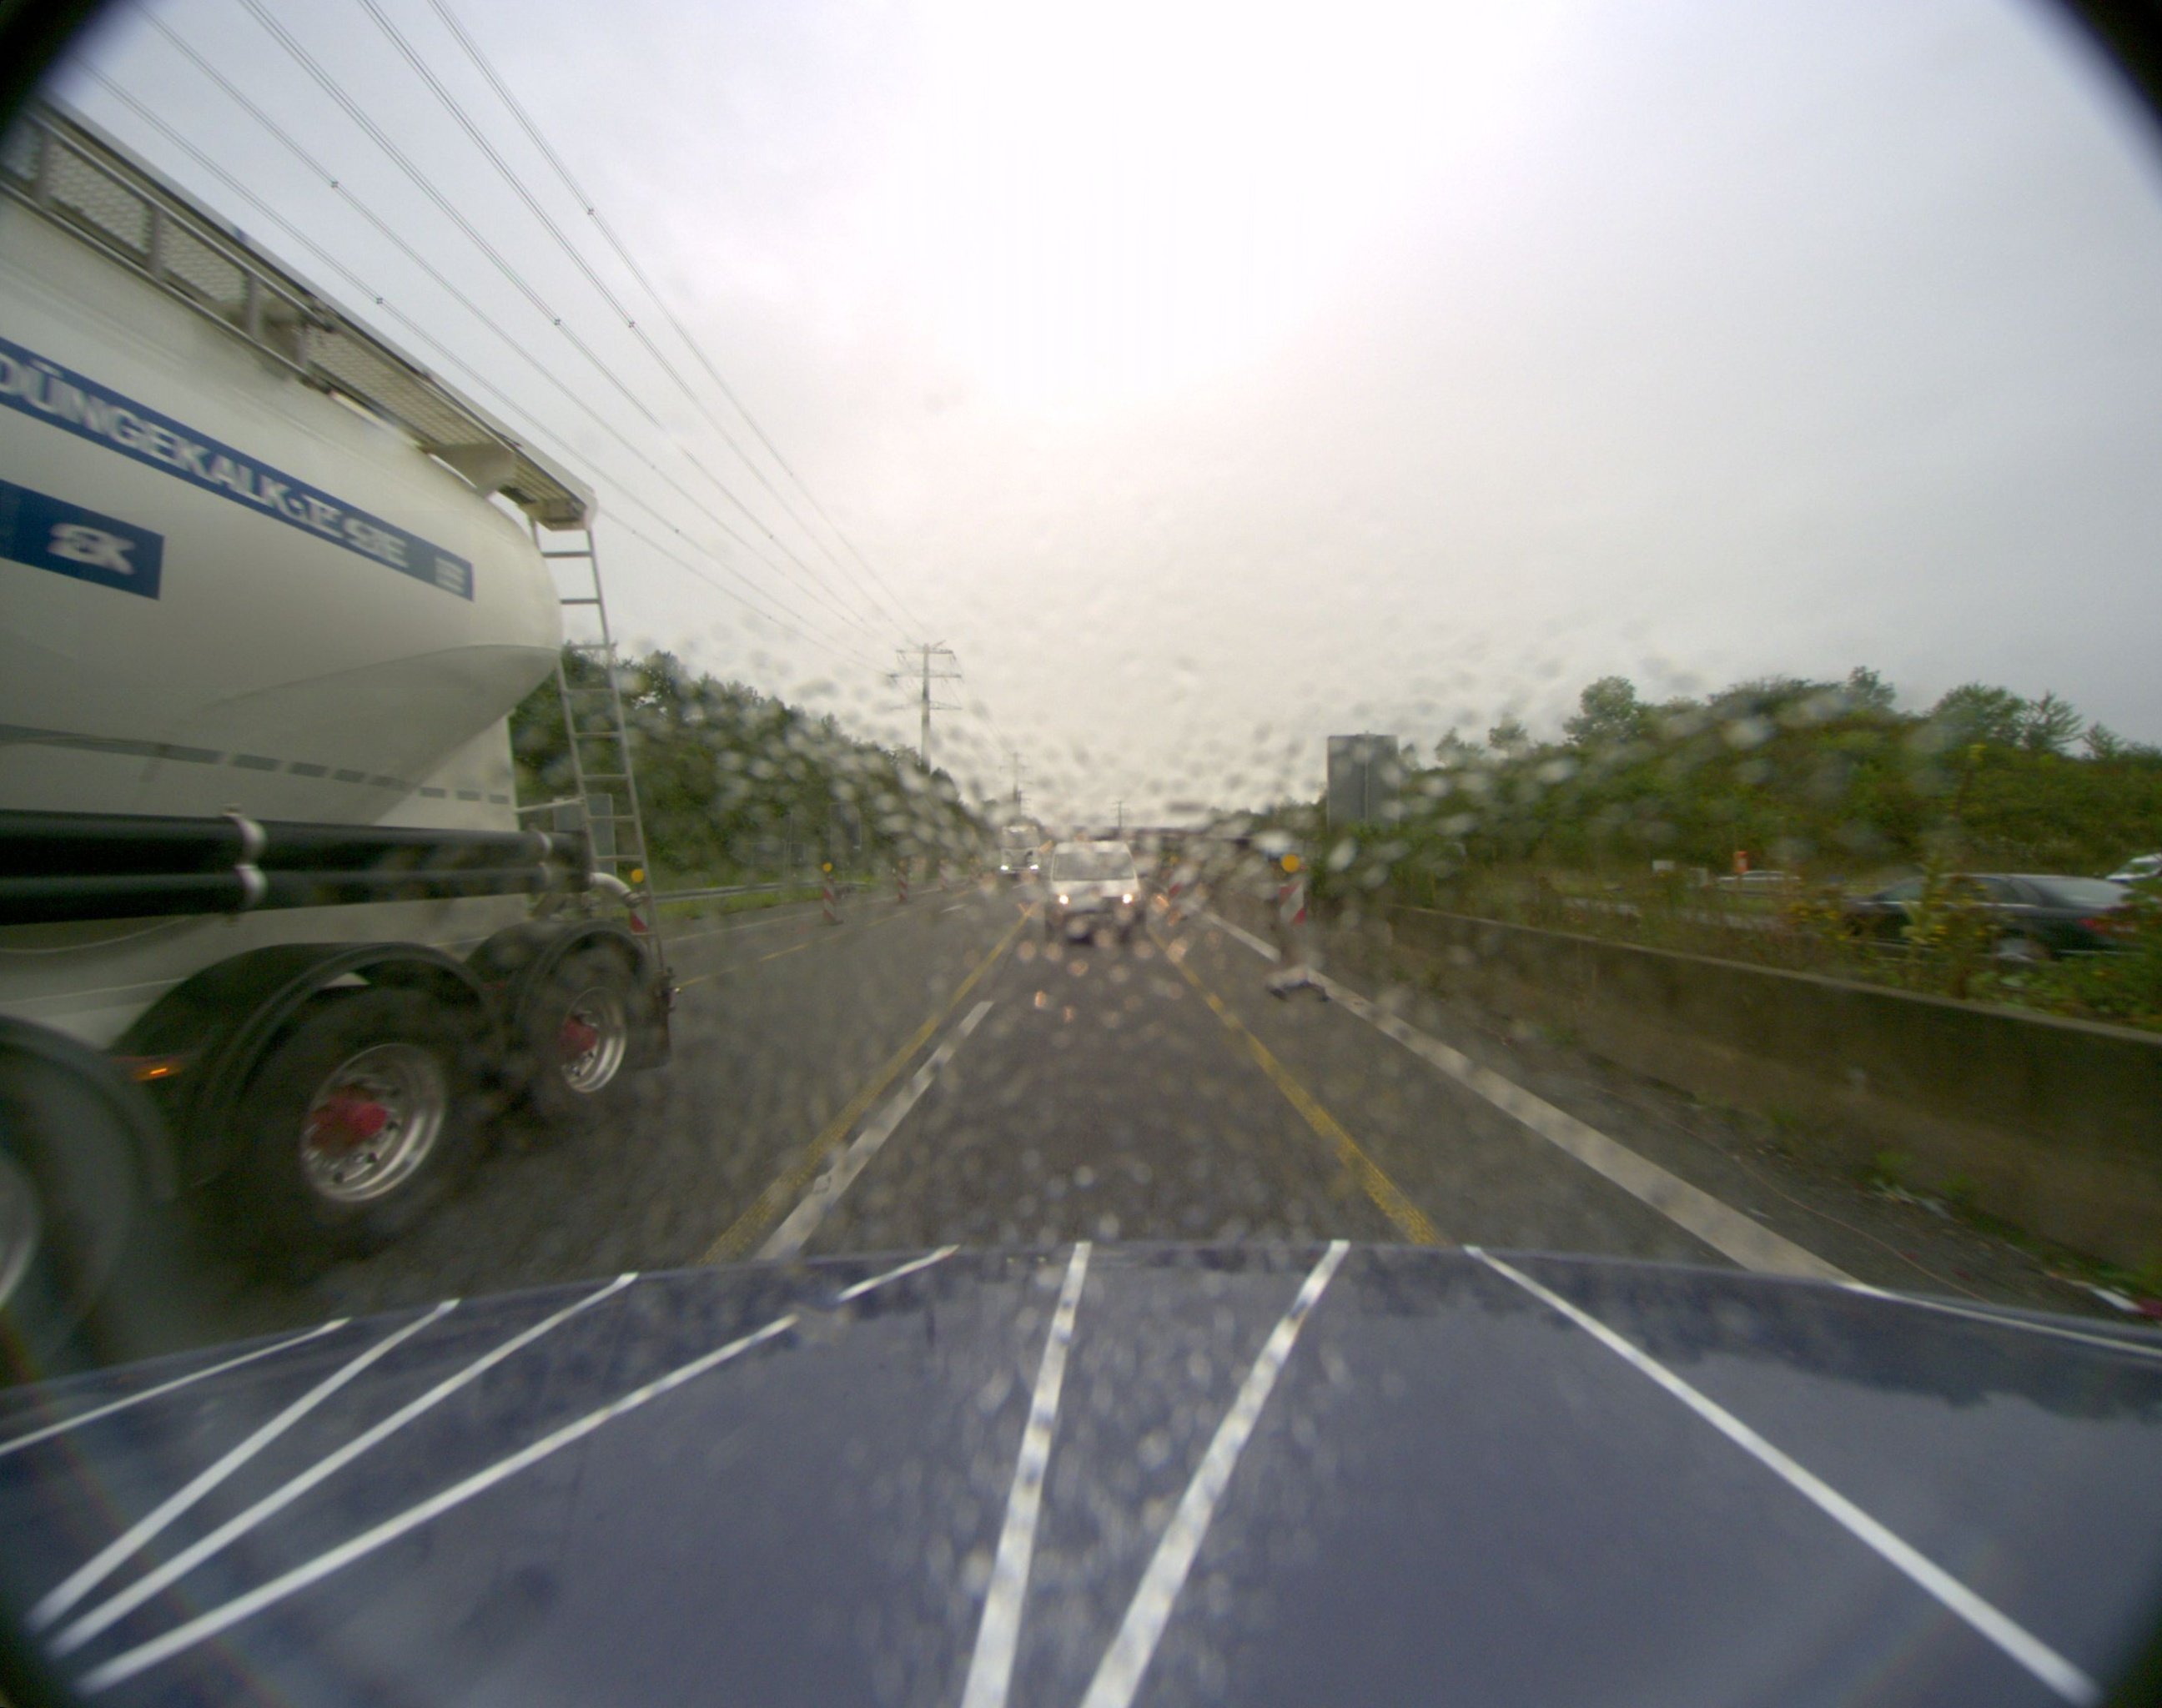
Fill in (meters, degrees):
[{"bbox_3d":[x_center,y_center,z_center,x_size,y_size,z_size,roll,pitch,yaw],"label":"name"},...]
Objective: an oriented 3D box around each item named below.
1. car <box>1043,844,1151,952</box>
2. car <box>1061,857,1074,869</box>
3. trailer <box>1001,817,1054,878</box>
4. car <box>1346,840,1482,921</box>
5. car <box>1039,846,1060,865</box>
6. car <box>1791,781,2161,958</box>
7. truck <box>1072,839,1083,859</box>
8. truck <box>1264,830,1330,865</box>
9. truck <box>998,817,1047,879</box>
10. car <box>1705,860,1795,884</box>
[{"bbox_3d":[0.237,0.728,15.047,1.770,1.774,4.647,-1,0,-1],"label":"car"},{"bbox_3d":[-2.338,1.552,134.315,1.998,2.002,3.999,-2,1,1],"label":"car"},{"bbox_3d":[-3.851,-0.544,58.153,2.808,3.980,14.146,-2,1,0],"label":"trailer"},{"bbox_3d":[9.513,0.661,22.224,1.772,2.002,5.254,-3,1,2],"label":"car"},{"bbox_3d":[-3.501,0.113,84.549,1.998,2.002,3.999,-2,1,1],"label":"car"},{"bbox_3d":[12.765,0.123,10.616,1.998,2.002,4.000,-2,1,2],"label":"car"},{"bbox_3d":[-0.885,-1.244,180.233,2.276,3.687,6.645,-2,9,1],"label":"truck"},{"bbox_3d":[24.024,-0.637,85.730,2.899,3.598,14.577,0,0,-2],"label":"truck"},{"bbox_3d":[-3.900,-0.430,52.012,2.748,3.912,5.396,-2,1,0],"label":"truck"},{"bbox_3d":[42.179,1.101,48.027,3.989,1.395,1.924,0,1,31],"label":"car"}]
